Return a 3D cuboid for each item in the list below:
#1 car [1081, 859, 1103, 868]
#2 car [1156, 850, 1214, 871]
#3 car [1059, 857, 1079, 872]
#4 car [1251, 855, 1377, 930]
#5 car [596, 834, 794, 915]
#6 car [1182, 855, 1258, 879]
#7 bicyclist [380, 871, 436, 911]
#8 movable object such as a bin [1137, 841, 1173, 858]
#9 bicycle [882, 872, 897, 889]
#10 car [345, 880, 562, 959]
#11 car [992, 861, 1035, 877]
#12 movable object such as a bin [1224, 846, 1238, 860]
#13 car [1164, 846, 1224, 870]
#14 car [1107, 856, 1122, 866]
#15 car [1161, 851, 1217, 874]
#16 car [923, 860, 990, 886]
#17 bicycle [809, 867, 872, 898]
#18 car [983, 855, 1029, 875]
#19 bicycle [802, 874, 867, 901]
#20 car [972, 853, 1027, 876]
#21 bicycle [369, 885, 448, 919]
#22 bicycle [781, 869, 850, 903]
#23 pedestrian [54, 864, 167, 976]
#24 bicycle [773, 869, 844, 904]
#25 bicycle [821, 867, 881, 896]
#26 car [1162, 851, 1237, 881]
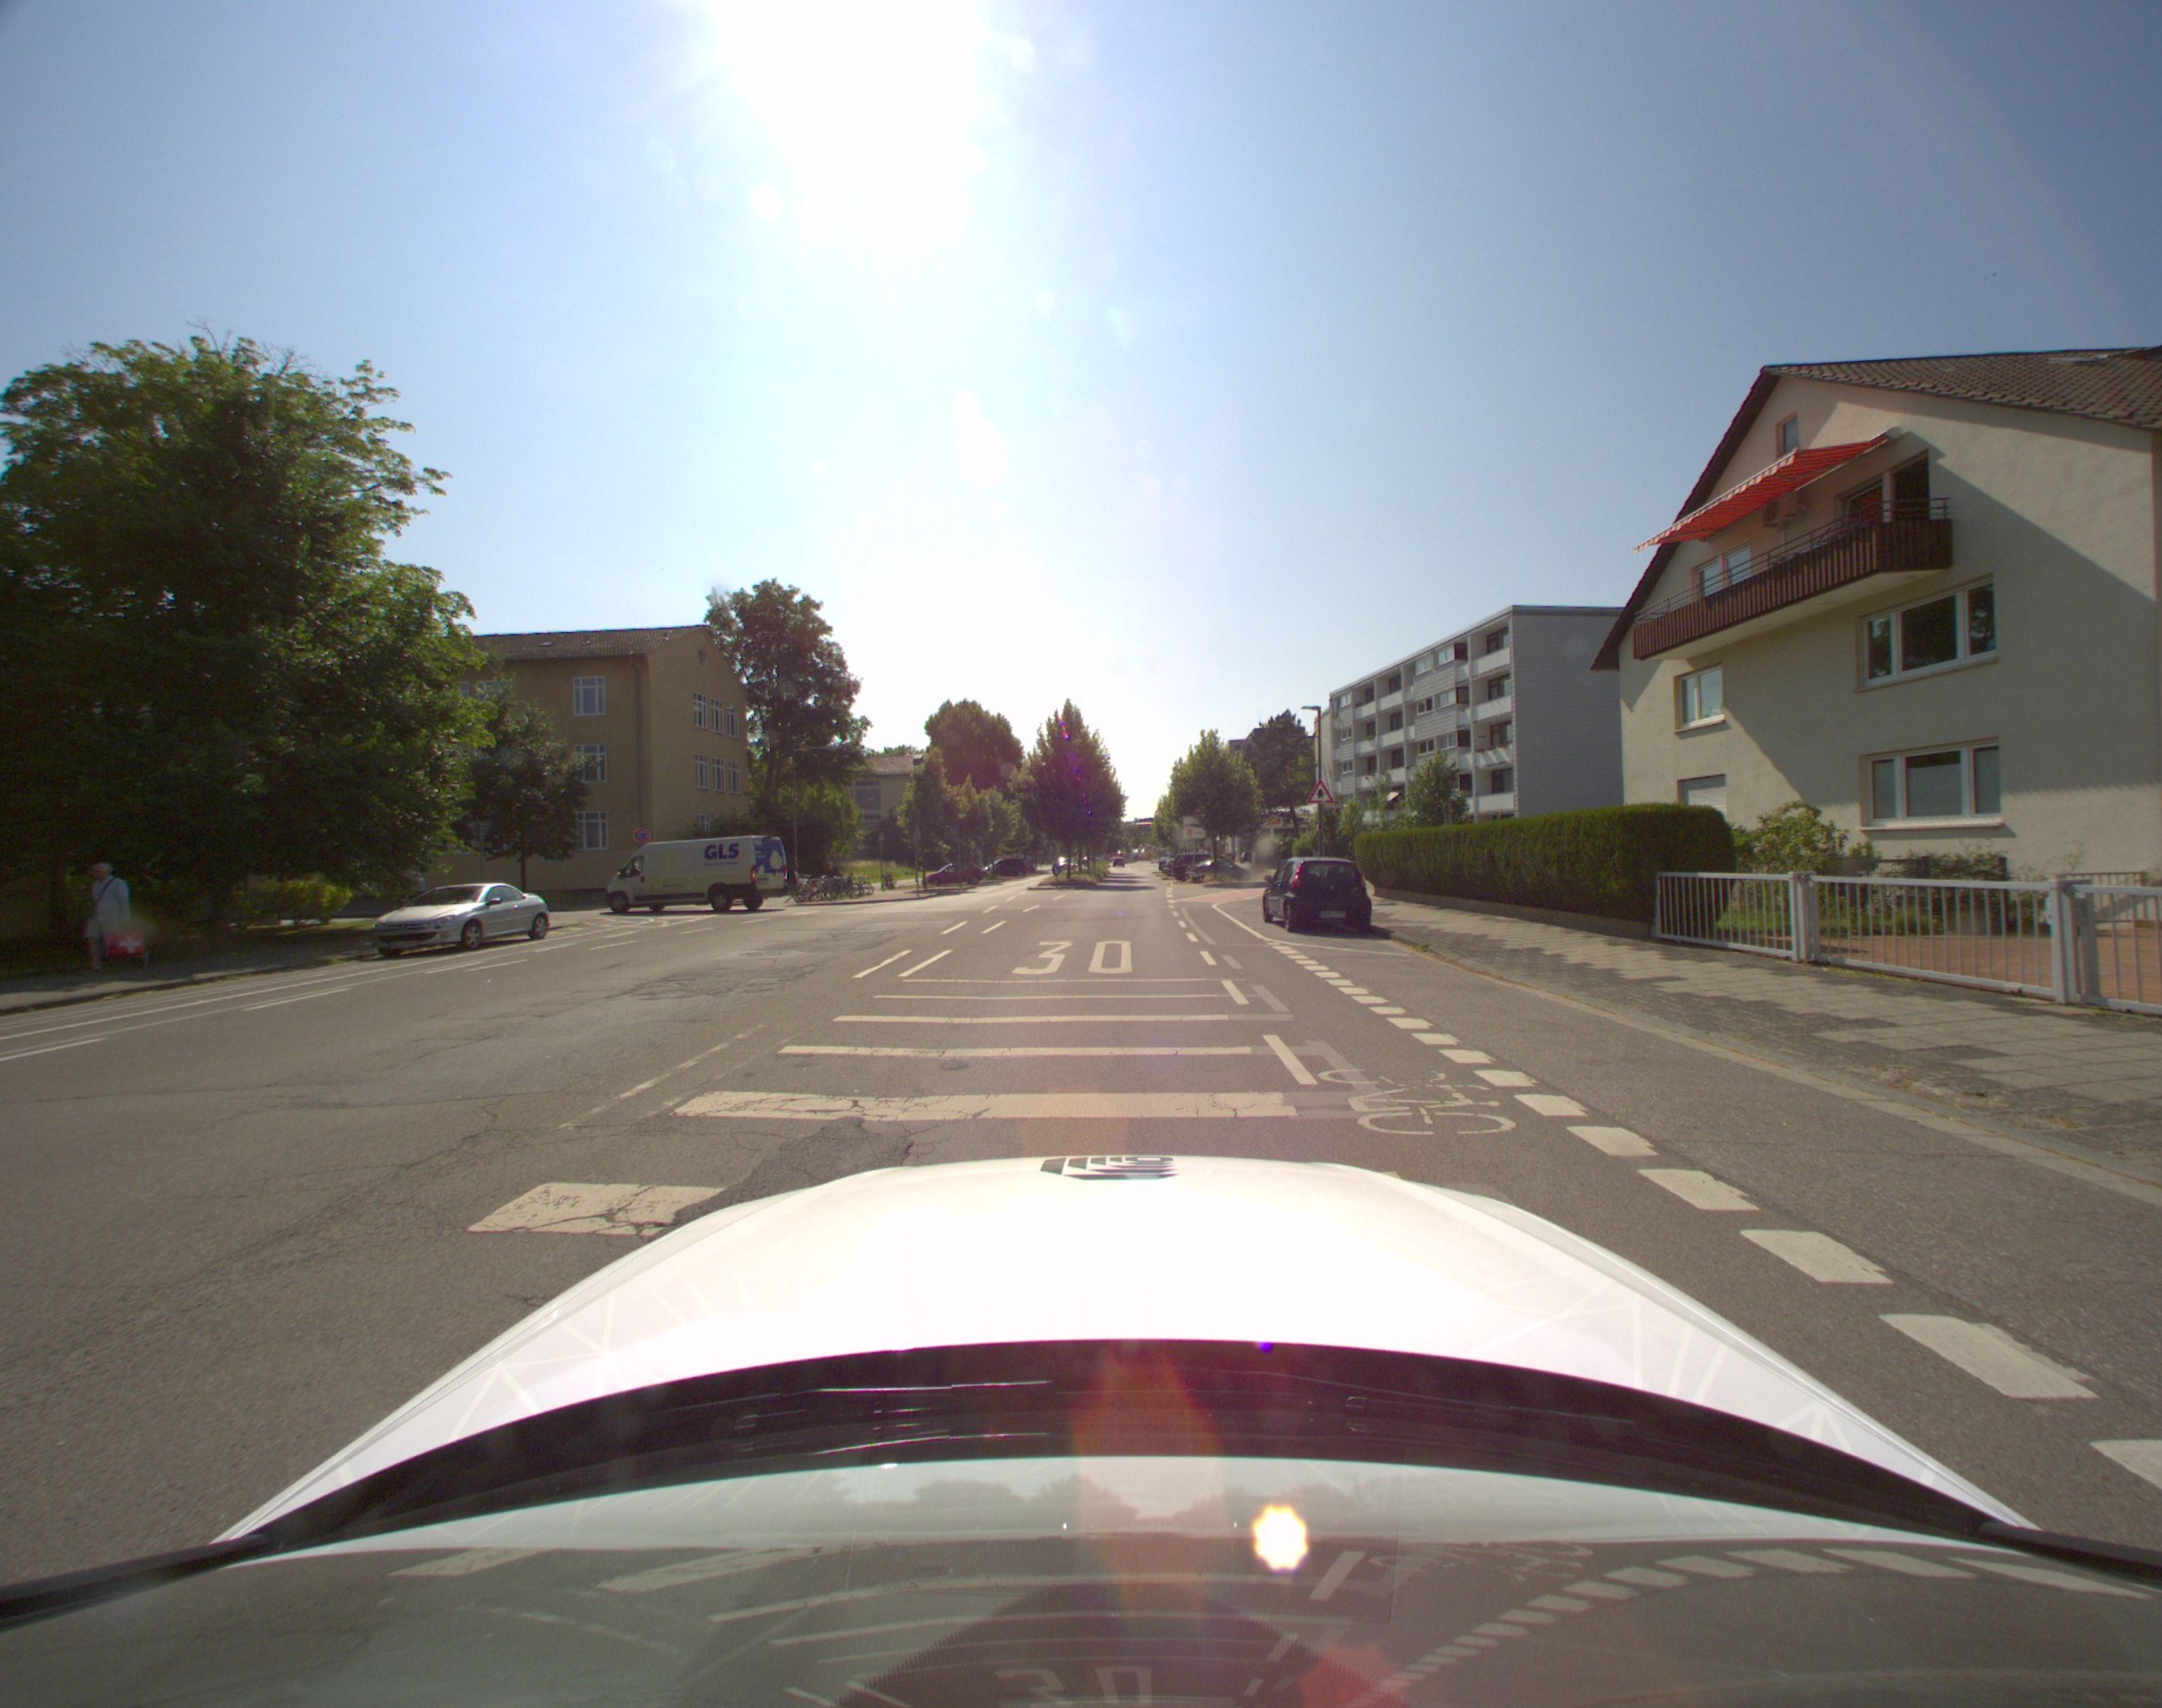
[{"bbox_3d":[1.912,1.591,137.115,3.590,1.377,1.638,-2,0,0],"label":"car"},{"bbox_3d":[8.832,0.557,69.094,4.761,1.660,1.736,-1,0,-31],"label":"car"},{"bbox_3d":[-1.286,1.136,87.783,1.733,1.547,4.077,-3,-1,4],"label":"car"},{"bbox_3d":[4.806,0.744,17.346,1.611,1.390,4.001,0,0,1],"label":"car"},{"bbox_3d":[-13.659,0.717,28.931,6.074,2.524,2.291,-3,0,12],"label":"car"},{"bbox_3d":[7.983,0.747,46.739,4.004,1.236,1.740,-1,0,-23],"label":"car"},{"bbox_3d":[-24.808,1.357,30.040,1.340,1.403,0.964,-3,0,18],"label":"bicyclist"},{"bbox_3d":[20.371,-1.240,222.932,9.629,4.550,3.168,-1,0,5],"label":"movable object such as a bin"},{"bbox_3d":[-10.620,1.471,45.084,0.519,0.903,1.270,-3,-1,-1],"label":"bicycle"},{"bbox_3d":[-13.239,1.317,17.528,1.717,1.266,3.994,-3,0,-4],"label":"car"},{"bbox_3d":[-6.662,1.469,80.169,3.857,1.423,1.698,-1,-1,-33],"label":"car"},{"bbox_3d":[18.540,-0.148,100.617,1.303,1.592,1.396,-4,-1,1],"label":"movable object such as a bin"},{"bbox_3d":[8.290,0.299,60.009,3.997,1.640,1.743,-2,0,-17],"label":"car"},{"bbox_3d":[5.001,1.042,121.212,1.987,1.398,4.000,-1,0,0],"label":"car"},{"bbox_3d":[8.334,0.675,62.928,3.986,1.640,1.747,-2,0,-9],"label":"car"},{"bbox_3d":[-8.186,1.231,53.489,3.998,1.466,1.988,-3,0,-18],"label":"car"},{"bbox_3d":[-10.683,1.251,36.174,2.506,1.256,0.739,-3,0,0],"label":"bicycle"},{"bbox_3d":[-6.970,1.023,75.570,3.780,1.772,1.804,-1,-1,-25],"label":"car"},{"bbox_3d":[-10.542,1.434,34.879,2.536,0.987,0.739,-3,0,0],"label":"bicycle"},{"bbox_3d":[-6.958,0.883,69.483,4.206,1.816,1.983,-2,0,-35],"label":"car"},{"bbox_3d":[-24.824,1.758,30.062,2.524,1.113,0.964,-3,0,18],"label":"bicycle"},{"bbox_3d":[-10.960,1.309,33.711,2.536,1.239,0.739,-3,0,0],"label":"bicycle"},{"bbox_3d":[-16.209,1.079,13.624,0.970,1.780,0.725,-2,-1,-1],"label":"pedestrian"},{"bbox_3d":[-10.960,1.297,32.813,2.536,1.256,0.739,-3,0,0],"label":"bicycle"},{"bbox_3d":[-10.572,1.264,37.456,2.536,1.256,0.739,-2,0,0],"label":"bicycle"},{"bbox_3d":[7.238,0.724,49.560,4.133,1.640,2.025,-1,0,-30],"label":"car"}]
